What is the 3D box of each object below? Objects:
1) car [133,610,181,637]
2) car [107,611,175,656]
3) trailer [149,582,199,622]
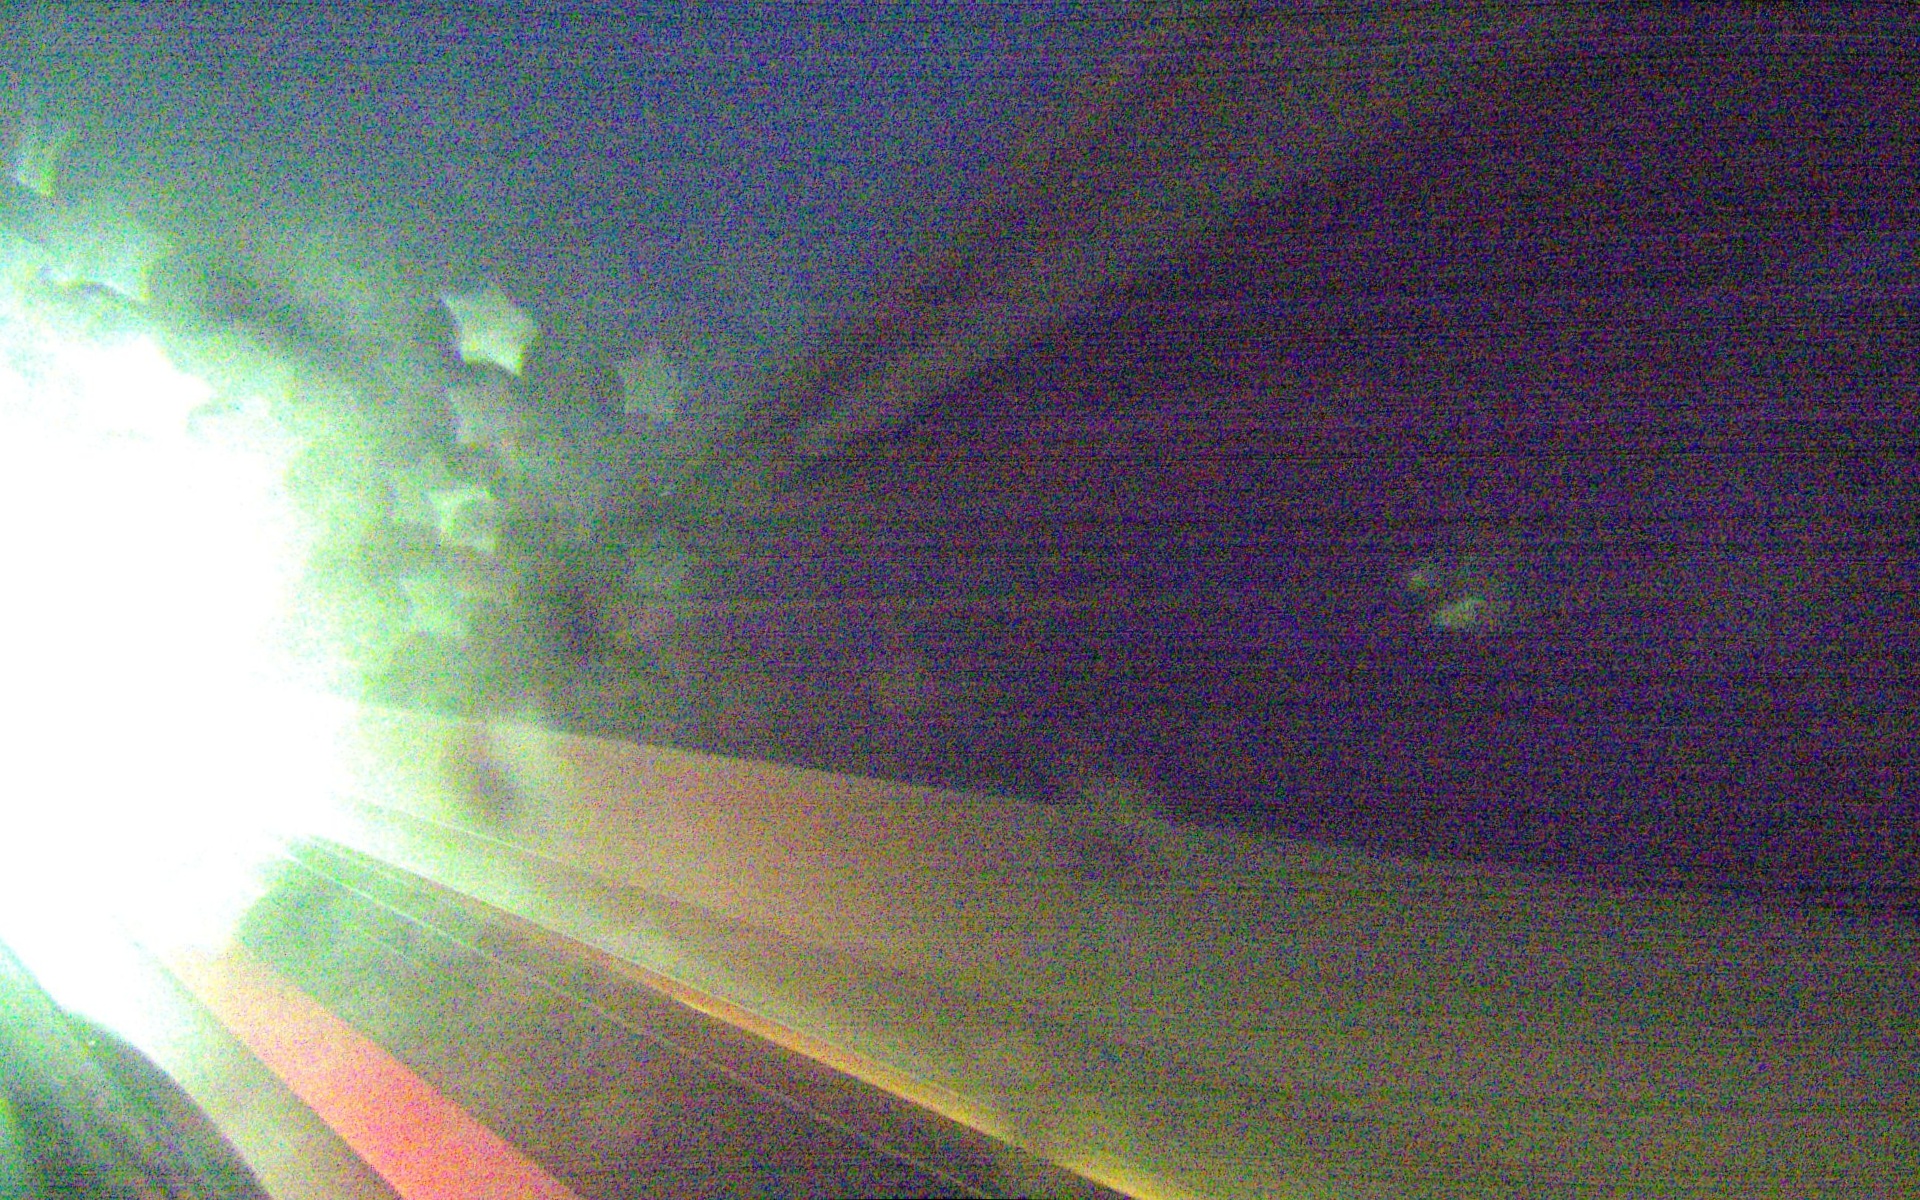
[{"bbox_3d":[-57.241,1.703,72.128,4.000,1.676,1.972,-3,3,43],"label":"car"},{"bbox_3d":[-41.907,1.718,51.734,5.190,2.028,1.972,-3,3,44],"label":"car"},{"bbox_3d":[-83.558,0.265,107.490,2.895,3.776,9.507,-7,3,-44],"label":"trailer"}]
